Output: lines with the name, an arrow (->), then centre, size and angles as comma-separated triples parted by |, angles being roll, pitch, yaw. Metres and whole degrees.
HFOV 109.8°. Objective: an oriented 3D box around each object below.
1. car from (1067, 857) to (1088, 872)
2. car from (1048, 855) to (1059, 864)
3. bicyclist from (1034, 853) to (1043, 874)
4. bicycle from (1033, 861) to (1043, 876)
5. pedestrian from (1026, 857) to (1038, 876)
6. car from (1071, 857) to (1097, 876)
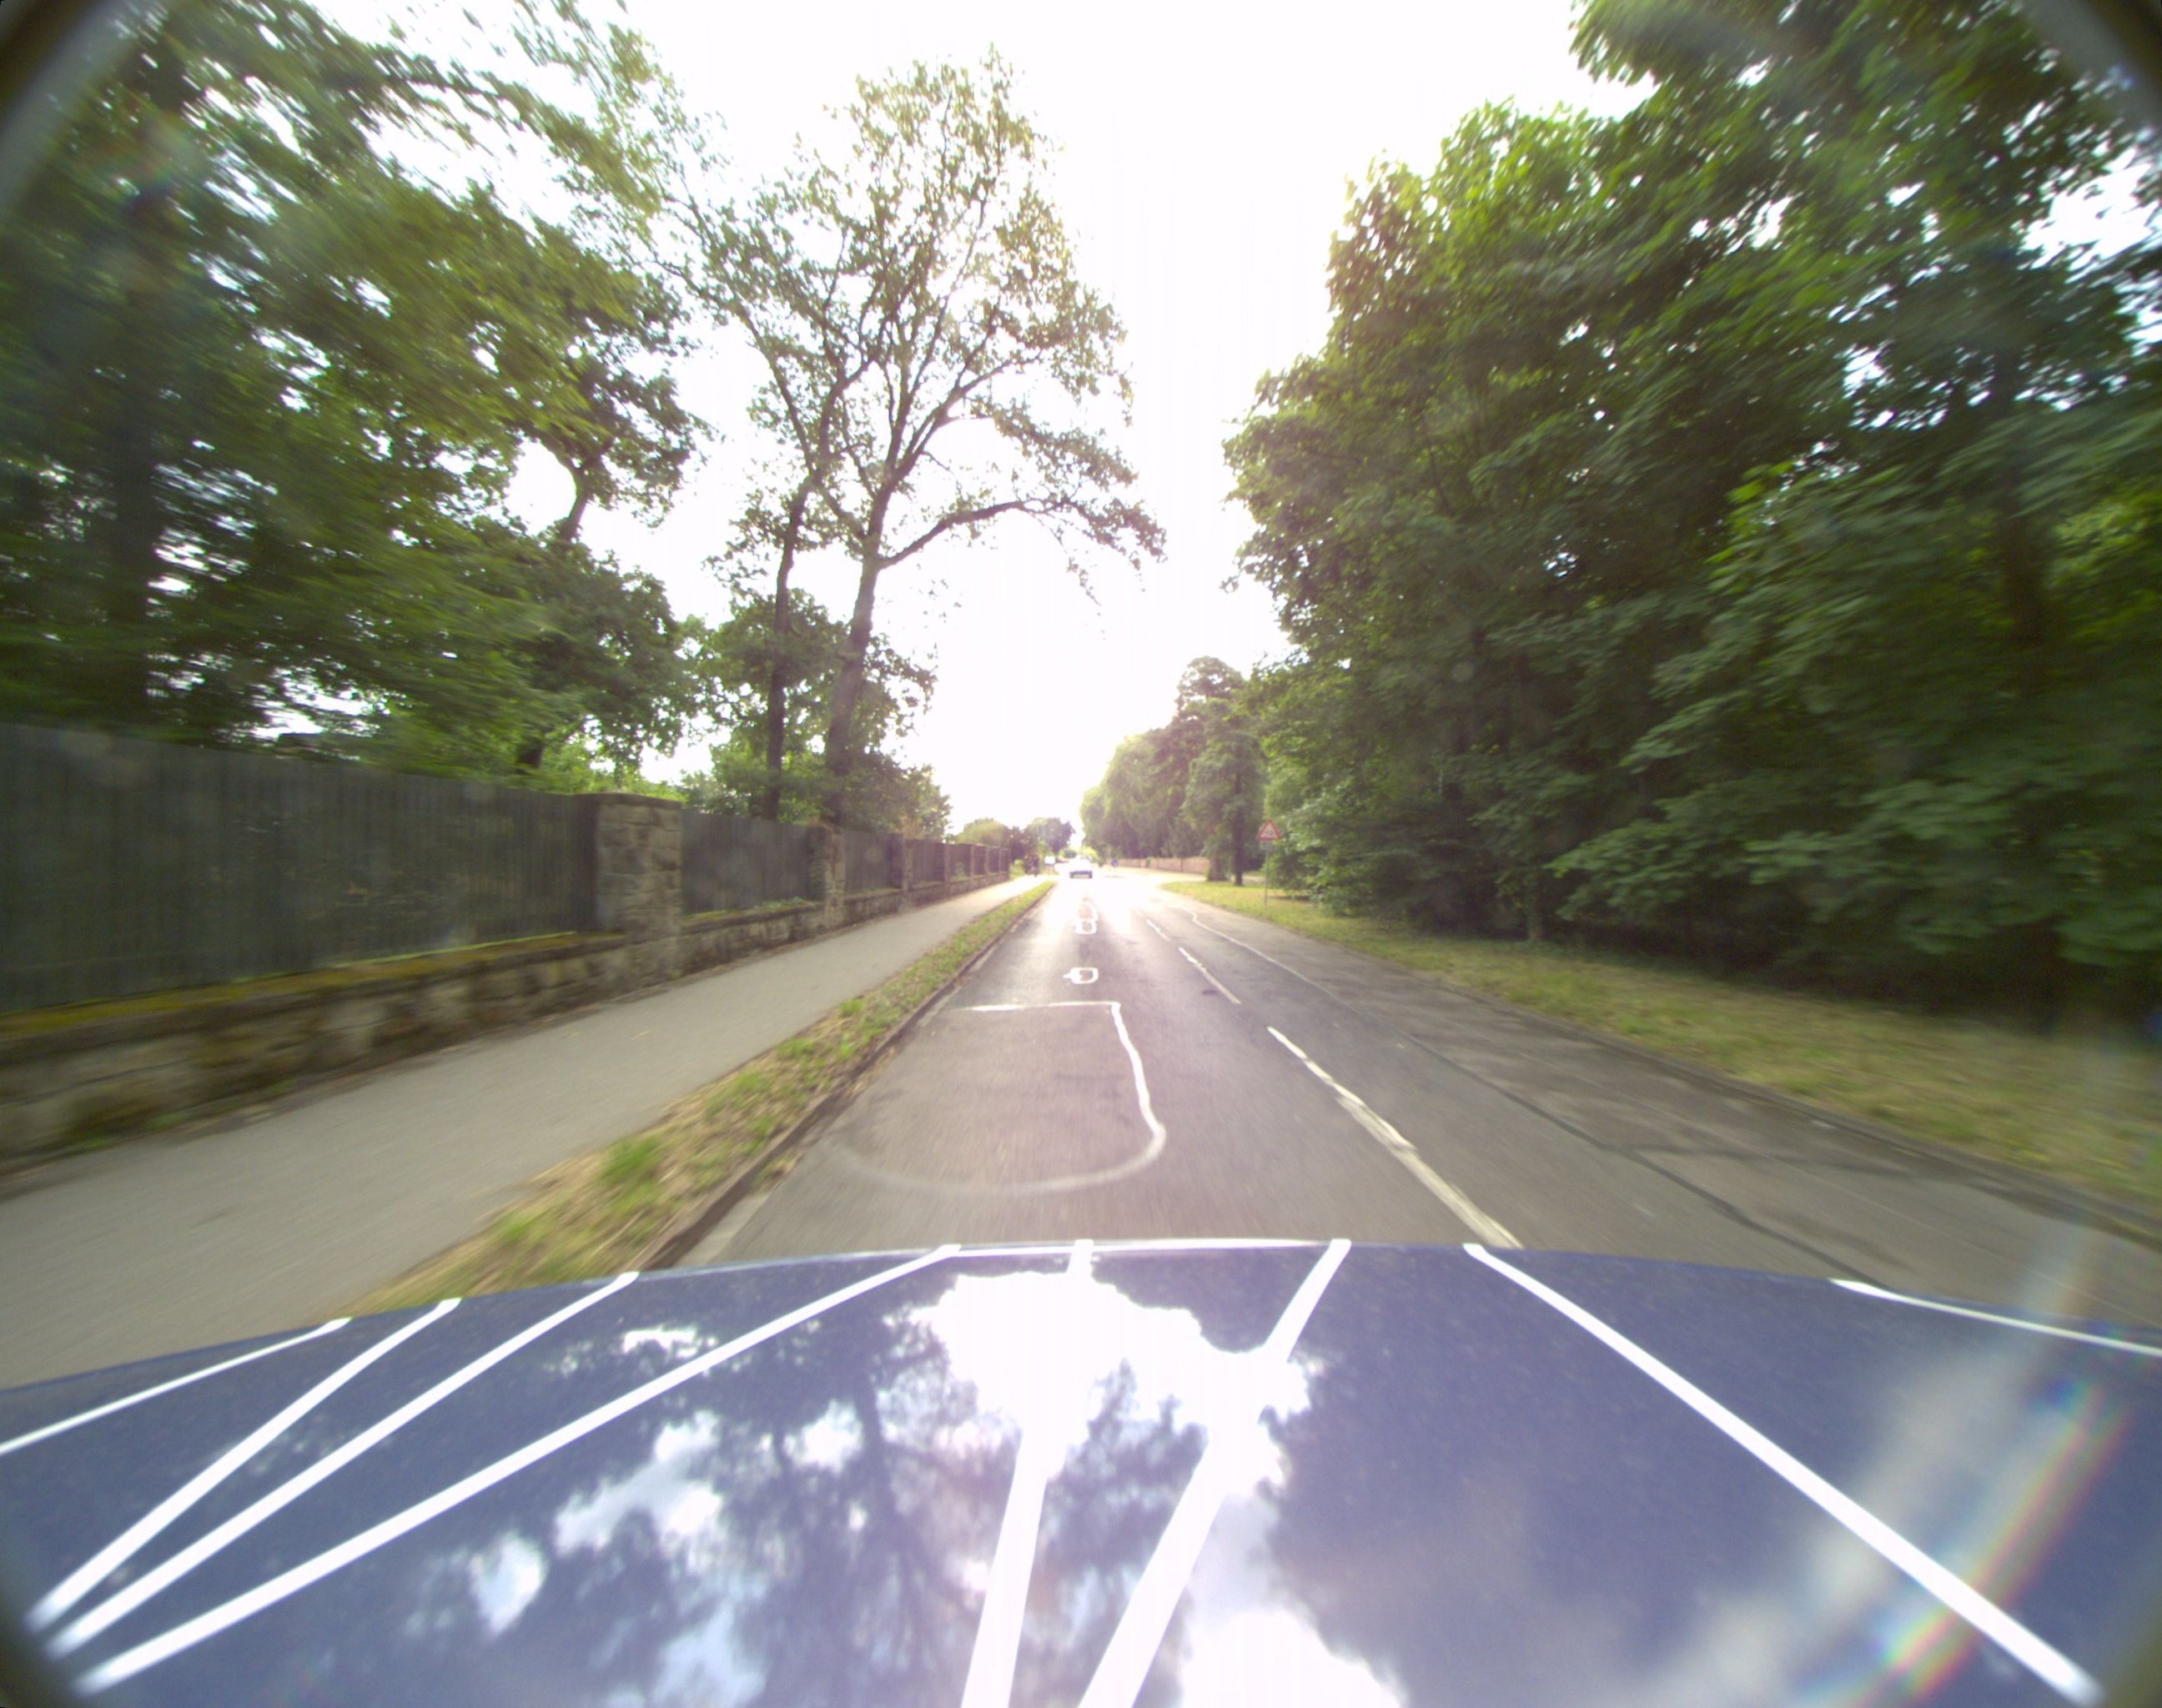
car -> -0.410, 1.139, 78.837 | 1.966, 1.455, 4.529 | 2, -2, -2
car -> -4.902, 0.960, 136.142 | 1.799, 1.652, 4.000 | -1, -1, 0
bicyclist -> -3.293, 0.730, 58.494 | 0.571, 1.578, 1.205 | 2, 0, 0
bicycle -> -3.314, 1.114, 58.566 | 0.559, 1.066, 2.157 | 3, 0, 0
pedestrian -> -4.269, 1.131, 66.831 | 0.831, 1.641, 0.626 | 2, 0, 16
car -> 0.202, 1.019, 61.767 | 1.966, 1.455, 4.530 | 0, -2, -2
